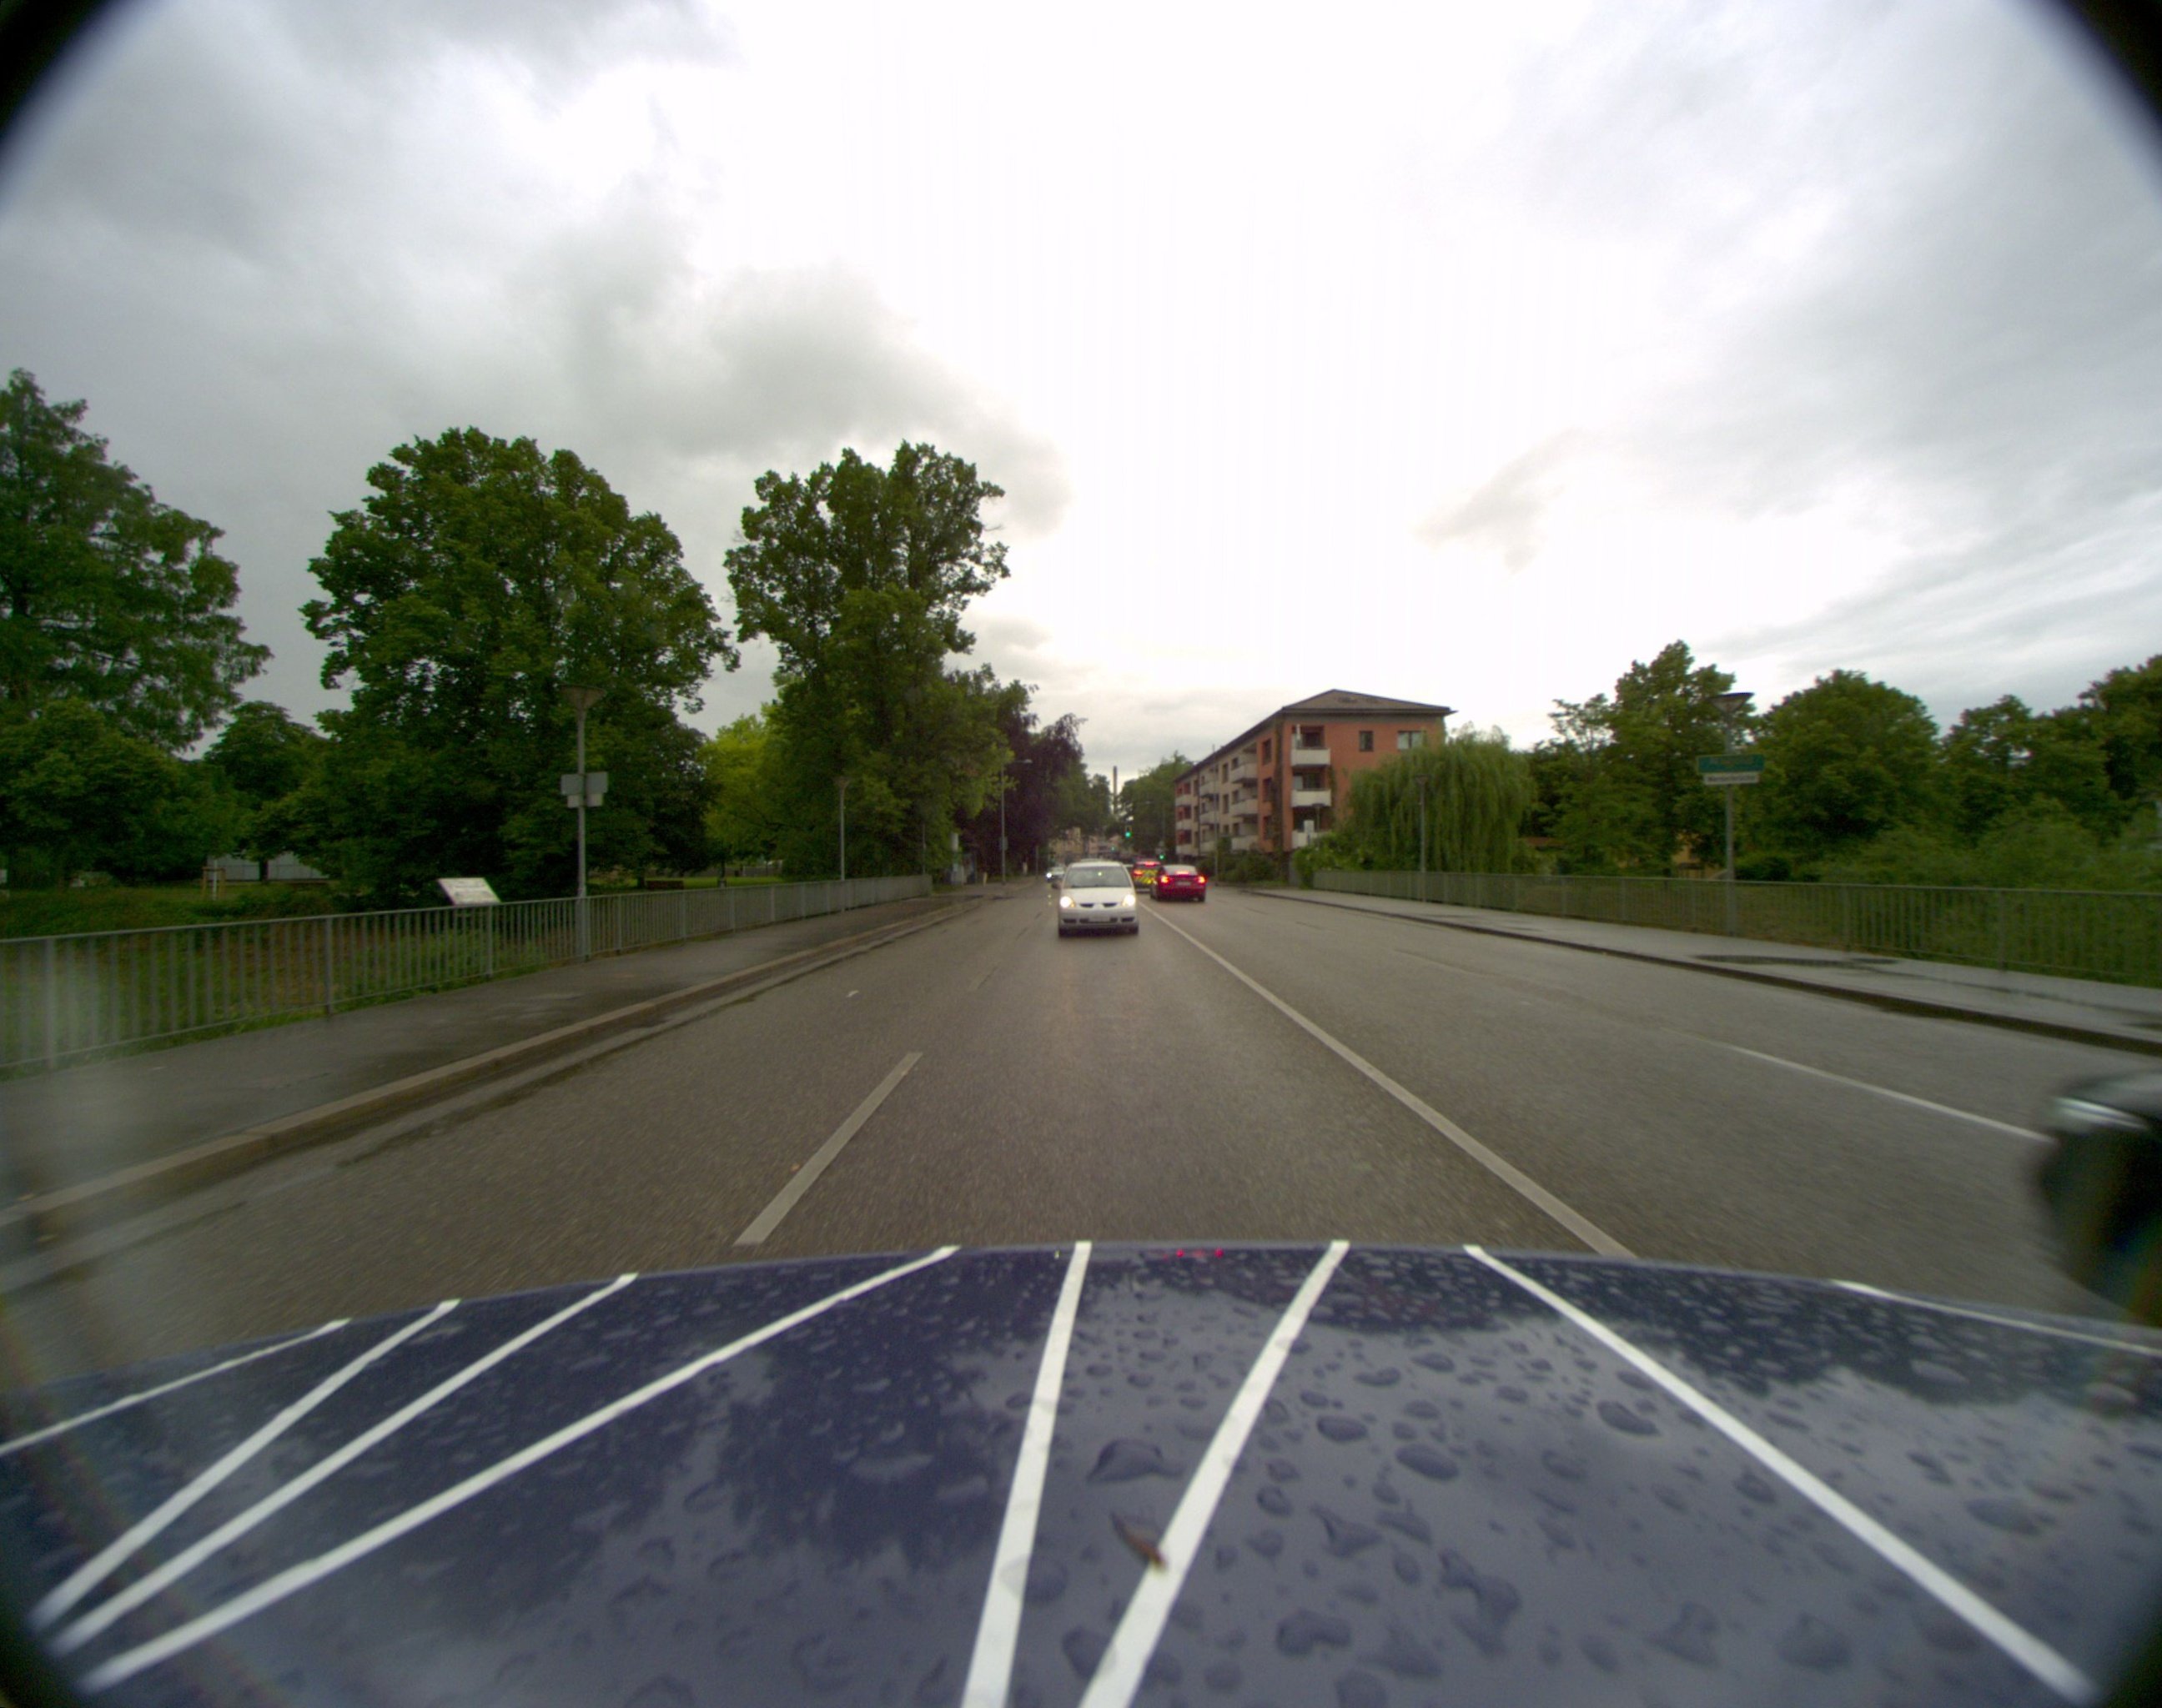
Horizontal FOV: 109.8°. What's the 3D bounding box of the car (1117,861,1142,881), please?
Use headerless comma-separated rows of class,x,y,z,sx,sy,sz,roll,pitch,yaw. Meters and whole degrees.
car,3.683,1.290,58.174,1.750,1.431,4.000,0,0,1

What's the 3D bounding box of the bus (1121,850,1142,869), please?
bus,8.144,0.892,123.547,2.700,2.923,12.084,0,0,0

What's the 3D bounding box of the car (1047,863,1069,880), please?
car,-2.205,1.695,73.333,1.906,1.537,4.000,-1,0,1

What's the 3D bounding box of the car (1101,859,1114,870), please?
car,4.221,1.684,121.324,1.818,1.569,4.232,0,-1,-1

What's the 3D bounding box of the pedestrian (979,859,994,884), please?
pedestrian,-6.479,1.178,52.329,0.850,1.666,1.167,1,1,0

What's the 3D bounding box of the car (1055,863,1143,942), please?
car,0.367,0.983,17.419,1.718,1.508,4.807,-1,0,0

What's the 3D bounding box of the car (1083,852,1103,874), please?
car,1.240,0.913,78.868,2.037,2.119,4.000,-1,0,1

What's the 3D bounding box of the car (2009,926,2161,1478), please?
car,3.666,0.929,0.252,1.713,1.408,4.094,1,0,0

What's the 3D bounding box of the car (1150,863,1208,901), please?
car,3.805,1.057,30.111,1.786,1.394,4.219,0,0,1

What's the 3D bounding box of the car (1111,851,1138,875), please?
car,4.368,0.920,77.349,2.295,2.295,6.510,0,-1,0

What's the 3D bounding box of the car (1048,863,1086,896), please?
car,-0.657,1.203,37.544,1.718,1.508,4.088,-1,0,0

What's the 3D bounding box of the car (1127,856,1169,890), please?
car,3.499,0.958,40.351,1.893,1.724,4.371,0,0,1
